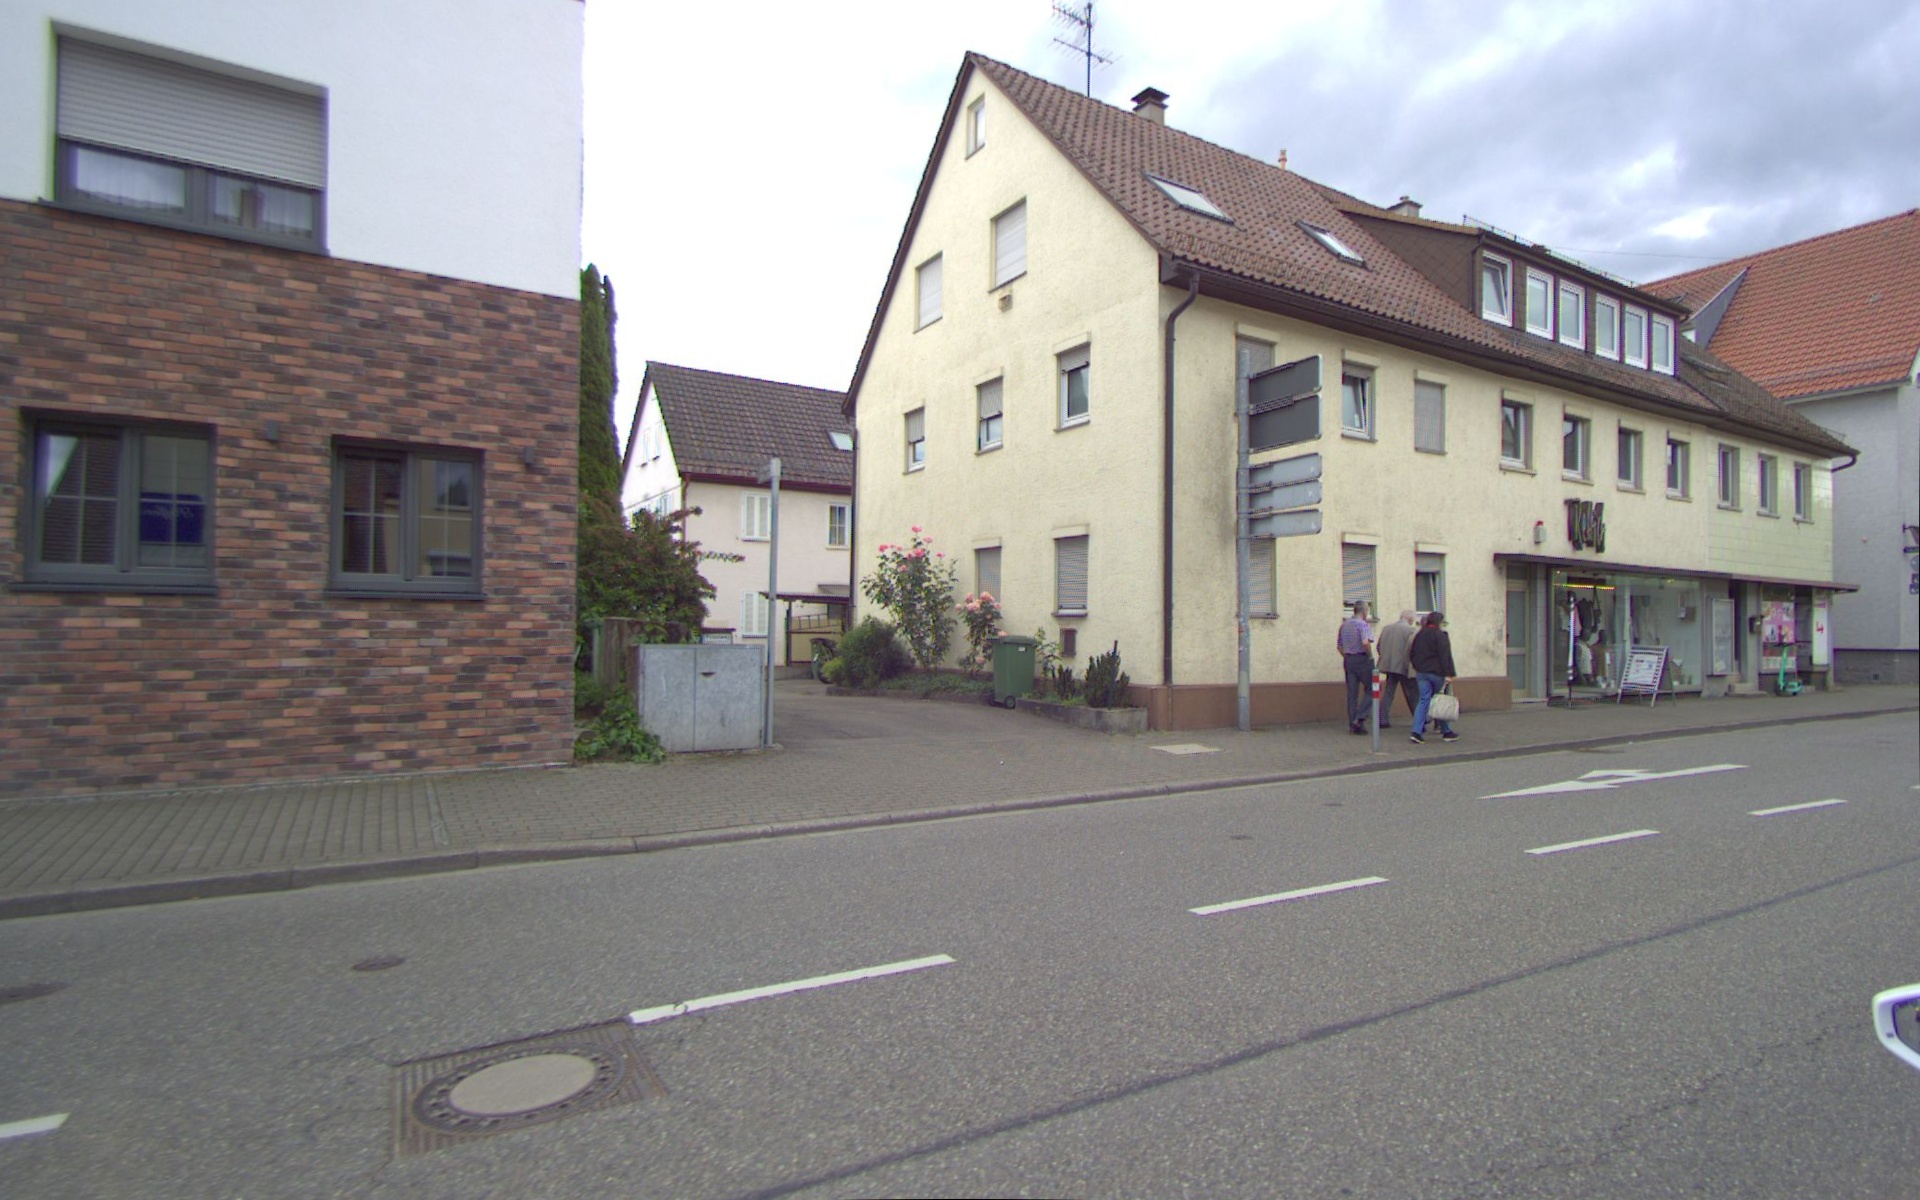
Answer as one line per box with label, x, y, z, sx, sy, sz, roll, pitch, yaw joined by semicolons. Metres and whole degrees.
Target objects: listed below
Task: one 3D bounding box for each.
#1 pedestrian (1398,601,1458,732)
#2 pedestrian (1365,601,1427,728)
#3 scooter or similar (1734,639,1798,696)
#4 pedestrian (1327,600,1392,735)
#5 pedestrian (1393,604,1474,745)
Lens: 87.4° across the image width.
pedestrian;6.471;0.899;13.890;0.640;1.760;0.494;1;-1;-30
pedestrian;6.256;0.911;14.407;0.640;1.760;0.551;1;-1;-30
scooter or similar;17.769;1.472;22.142;1.701;1.185;0.525;1;0;-31
pedestrian;5.369;0.884;13.508;0.640;1.760;0.551;1;-1;-30
pedestrian;6.122;0.938;13.004;0.709;1.760;0.674;1;-1;-30
